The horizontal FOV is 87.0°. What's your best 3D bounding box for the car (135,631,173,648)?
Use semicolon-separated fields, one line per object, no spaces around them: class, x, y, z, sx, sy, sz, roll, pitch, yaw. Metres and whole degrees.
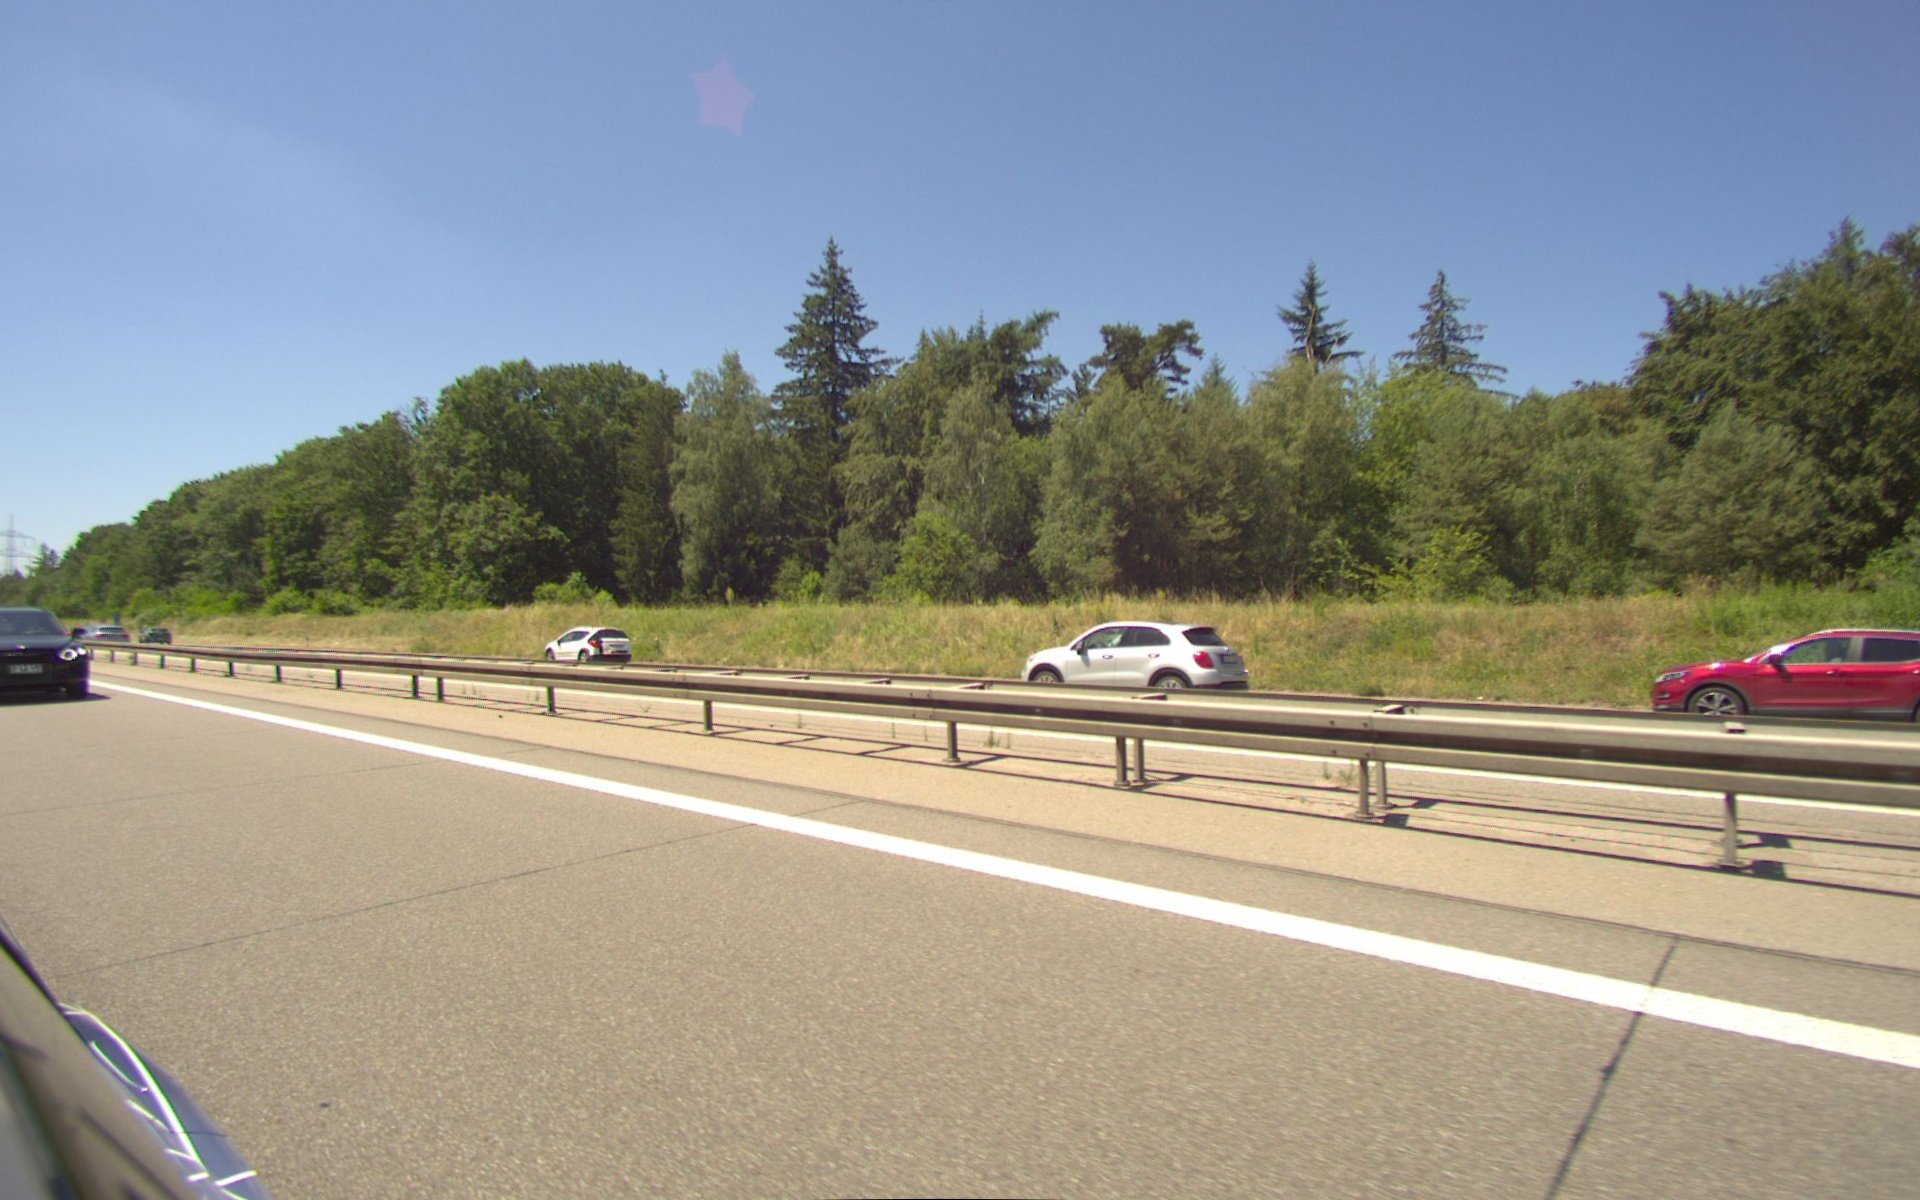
car;-69.573;3.417;87.323;4.594;1.420;1.653;-2;-4;40

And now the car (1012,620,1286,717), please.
car;3.223;1.158;17.859;4.557;1.510;1.629;-2;-4;40

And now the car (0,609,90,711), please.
car;-18.686;1.117;19.593;5.809;1.765;1.921;-2;-1;40

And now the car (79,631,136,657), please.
car;-51.745;2.674;61.399;4.983;1.485;1.776;-2;-4;41

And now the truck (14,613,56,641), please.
truck;-124.213;3.685;135.830;10.434;3.545;2.704;-2;-4;41

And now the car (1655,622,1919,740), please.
car;13.143;1.167;14.920;4.609;1.603;1.629;-2;-4;41

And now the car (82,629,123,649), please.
car;-73.166;3.318;86.351;4.982;1.631;1.776;-2;-4;40

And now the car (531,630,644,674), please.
car;-14.142;1.950;38.274;4.900;1.528;1.776;-2;-4;40

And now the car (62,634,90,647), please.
car;-102.377;4.701;117.188;5.173;1.422;1.637;-2;-4;41
